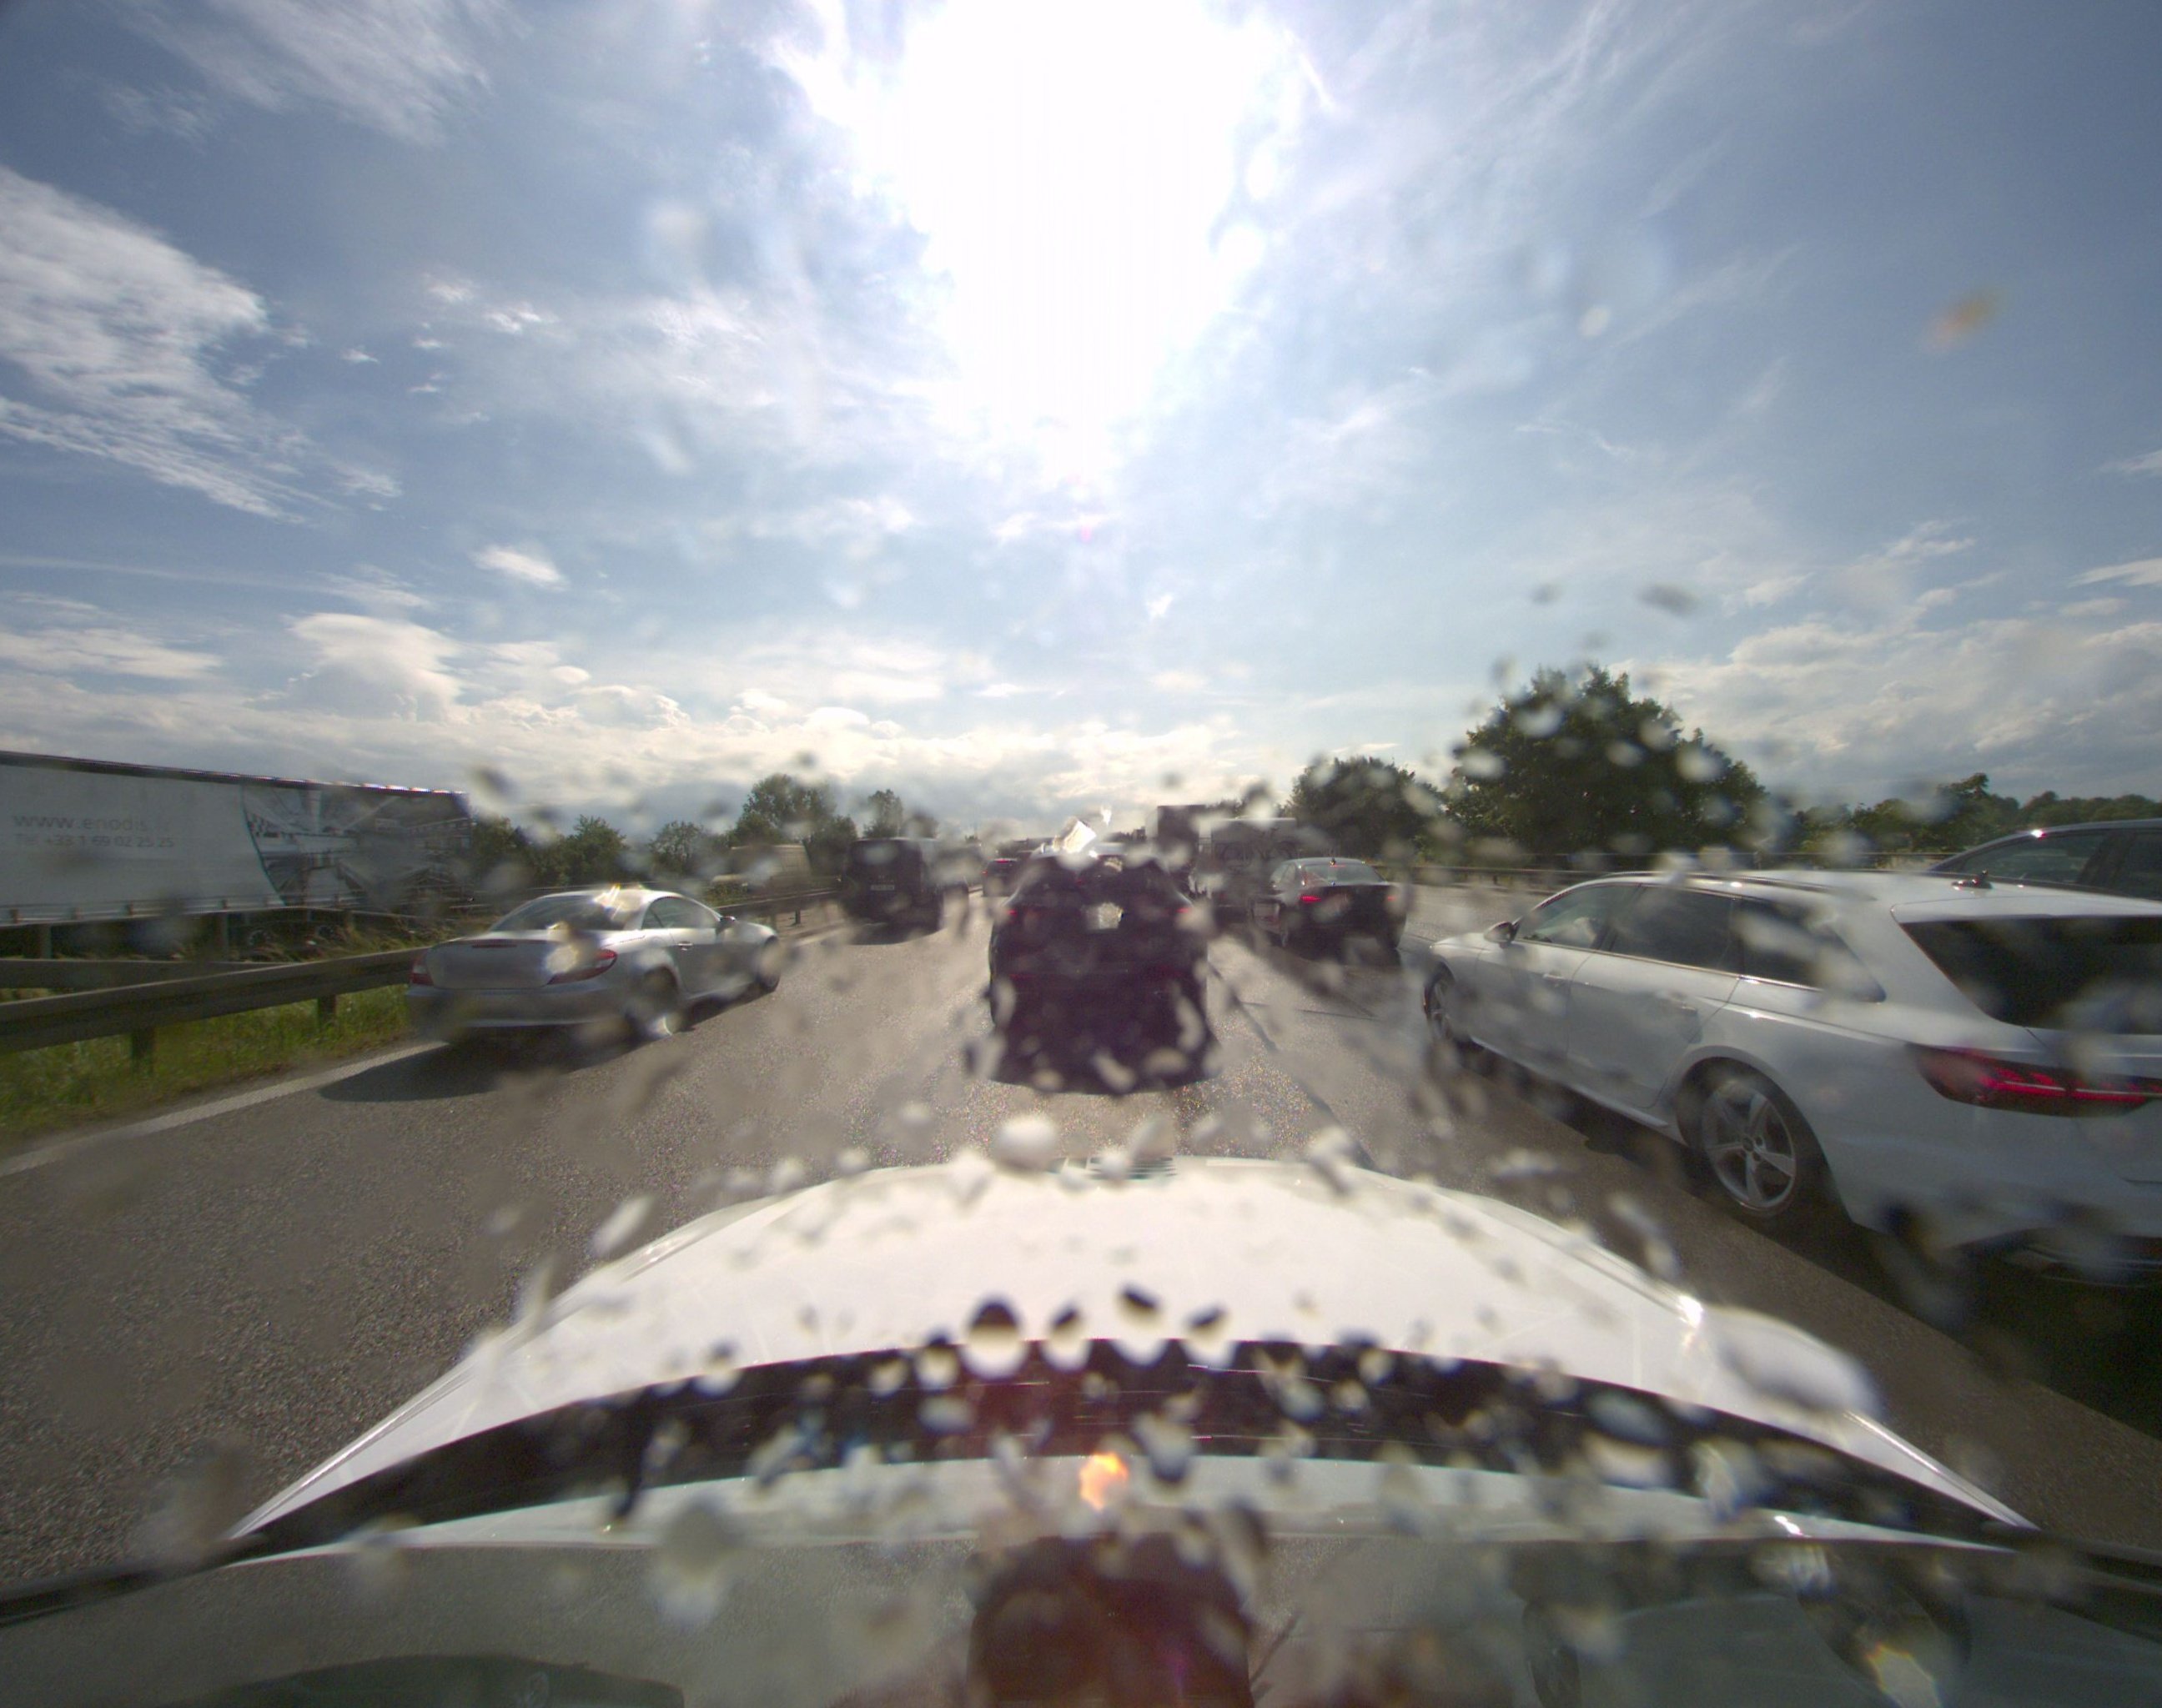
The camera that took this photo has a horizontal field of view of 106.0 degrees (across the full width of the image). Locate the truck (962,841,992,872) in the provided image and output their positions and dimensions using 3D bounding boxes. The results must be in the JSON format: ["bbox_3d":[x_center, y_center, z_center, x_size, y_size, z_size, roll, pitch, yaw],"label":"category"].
[{"bbox_3d":[-14.966,0.368,117.594,2.993,4.103,7.690,-3,-1,2],"label":"truck"}]

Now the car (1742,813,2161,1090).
[{"bbox_3d":[7.167,0.537,5.349,1.986,1.581,4.656,-1,0,2],"label":"car"}]

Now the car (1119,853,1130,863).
[{"bbox_3d":[8.025,0.792,151.117,1.870,1.760,3.999,0,0,0],"label":"car"}]

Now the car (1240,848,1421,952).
[{"bbox_3d":[4.028,0.678,13.942,1.842,1.464,4.256,-2,0,1],"label":"car"}]

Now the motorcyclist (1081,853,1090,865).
[{"bbox_3d":[0.615,0.702,111.250,1.059,1.718,0.786,-1,-1,3],"label":"motorcyclist"}]

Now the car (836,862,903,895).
[{"bbox_3d":[-10.135,1.154,39.340,1.986,1.460,4.100,0,0,2],"label":"car"}]

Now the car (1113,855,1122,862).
[{"bbox_3d":[8.692,1.038,192.143,1.870,1.760,3.999,0,0,0],"label":"car"}]

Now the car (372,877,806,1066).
[{"bbox_3d":[-4.392,0.946,8.152,1.718,1.278,4.066,-1,0,2],"label":"car"}]

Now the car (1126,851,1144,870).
[{"bbox_3d":[5.929,0.710,89.566,1.985,2.013,4.003,1,0,3],"label":"car"}]

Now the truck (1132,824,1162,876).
[{"bbox_3d":[6.396,-0.339,79.525,2.493,4.830,7.545,0,0,1],"label":"truck"}]

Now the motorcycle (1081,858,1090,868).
[{"bbox_3d":[0.619,1.205,111.164,1.069,1.271,2.692,-1,0,3],"label":"motorcycle"}]

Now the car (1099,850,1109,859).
[{"bbox_3d":[4.294,0.122,152.180,1.870,1.760,3.999,0,0,0],"label":"car"}]

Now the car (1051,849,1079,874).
[{"bbox_3d":[-1.340,0.632,68.917,1.985,2.013,4.003,3,0,3],"label":"car"}]

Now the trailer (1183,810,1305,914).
[{"bbox_3d":[4.335,0.210,22.876,2.365,2.483,6.526,0,0,2],"label":"trailer"}]

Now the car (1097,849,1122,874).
[{"bbox_3d":[2.473,0.656,69.046,1.985,2.013,4.003,-1,0,3],"label":"car"}]

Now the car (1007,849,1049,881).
[{"bbox_3d":[-2.918,0.622,45.733,1.986,1.720,4.001,0,0,1],"label":"car"}]

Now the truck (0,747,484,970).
[{"bbox_3d":[-18.849,0.178,18.844,2.837,3.853,9.426,-1,-1,2],"label":"truck"}]

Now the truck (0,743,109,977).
[{"bbox_3d":[-19.140,0.071,10.783,2.851,3.821,7.881,-1,-1,2],"label":"truck"}]

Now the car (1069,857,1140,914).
[{"bbox_3d":[0.714,0.801,22.309,1.749,1.387,3.948,-1,0,3],"label":"car"}]

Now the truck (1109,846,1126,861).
[{"bbox_3d":[9.762,-0.018,219.959,3.832,4.017,11.214,0,0,-1],"label":"truck"}]

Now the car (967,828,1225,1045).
[{"bbox_3d":[0.206,0.661,8.557,1.986,1.661,4.408,-1,0,2],"label":"car"}]

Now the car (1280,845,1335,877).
[{"bbox_3d":[11.833,0.345,42.768,1.813,1.620,4.366,0,0,2],"label":"car"}]

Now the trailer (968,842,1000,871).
[{"bbox_3d":[-14.681,0.434,124.333,2.993,4.103,10.481,-3,0,2],"label":"trailer"}]

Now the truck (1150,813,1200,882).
[{"bbox_3d":[5.938,-0.403,52.181,2.981,4.166,5.246,-1,0,4],"label":"truck"}]

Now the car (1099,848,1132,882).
[{"bbox_3d":[2.261,0.681,53.020,1.985,2.013,4.003,3,0,3],"label":"car"}]

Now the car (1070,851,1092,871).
[{"bbox_3d":[0.032,0.704,83.799,1.985,2.013,4.003,0,0,3],"label":"car"}]

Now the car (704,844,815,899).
[{"bbox_3d":[-14.214,0.680,36.626,1.986,2.208,6.983,-1,0,2],"label":"car"}]

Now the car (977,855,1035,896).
[{"bbox_3d":[-3.017,0.839,33.488,1.749,1.516,4.212,-1,0,3],"label":"car"}]

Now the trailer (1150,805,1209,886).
[{"bbox_3d":[5.478,-0.414,46.572,2.993,4.166,8.546,-1,0,5],"label":"trailer"}]

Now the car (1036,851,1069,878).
[{"bbox_3d":[-2.022,0.751,59.611,1.985,1.772,4.003,-3,0,3],"label":"car"}]

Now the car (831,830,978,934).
[{"bbox_3d":[-3.827,0.562,18.723,1.986,2.013,5.272,-1,0,2],"label":"car"}]

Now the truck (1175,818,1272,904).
[{"bbox_3d":[4.496,0.220,26.665,2.365,2.477,5.759,0,0,2],"label":"truck"}]

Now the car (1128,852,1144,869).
[{"bbox_3d":[7.059,0.800,105.130,1.985,2.013,4.003,3,0,3],"label":"car"}]

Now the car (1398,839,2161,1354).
[{"bbox_3d":[3.547,0.746,4.547,1.821,1.425,4.510,1,-1,0],"label":"car"}]
